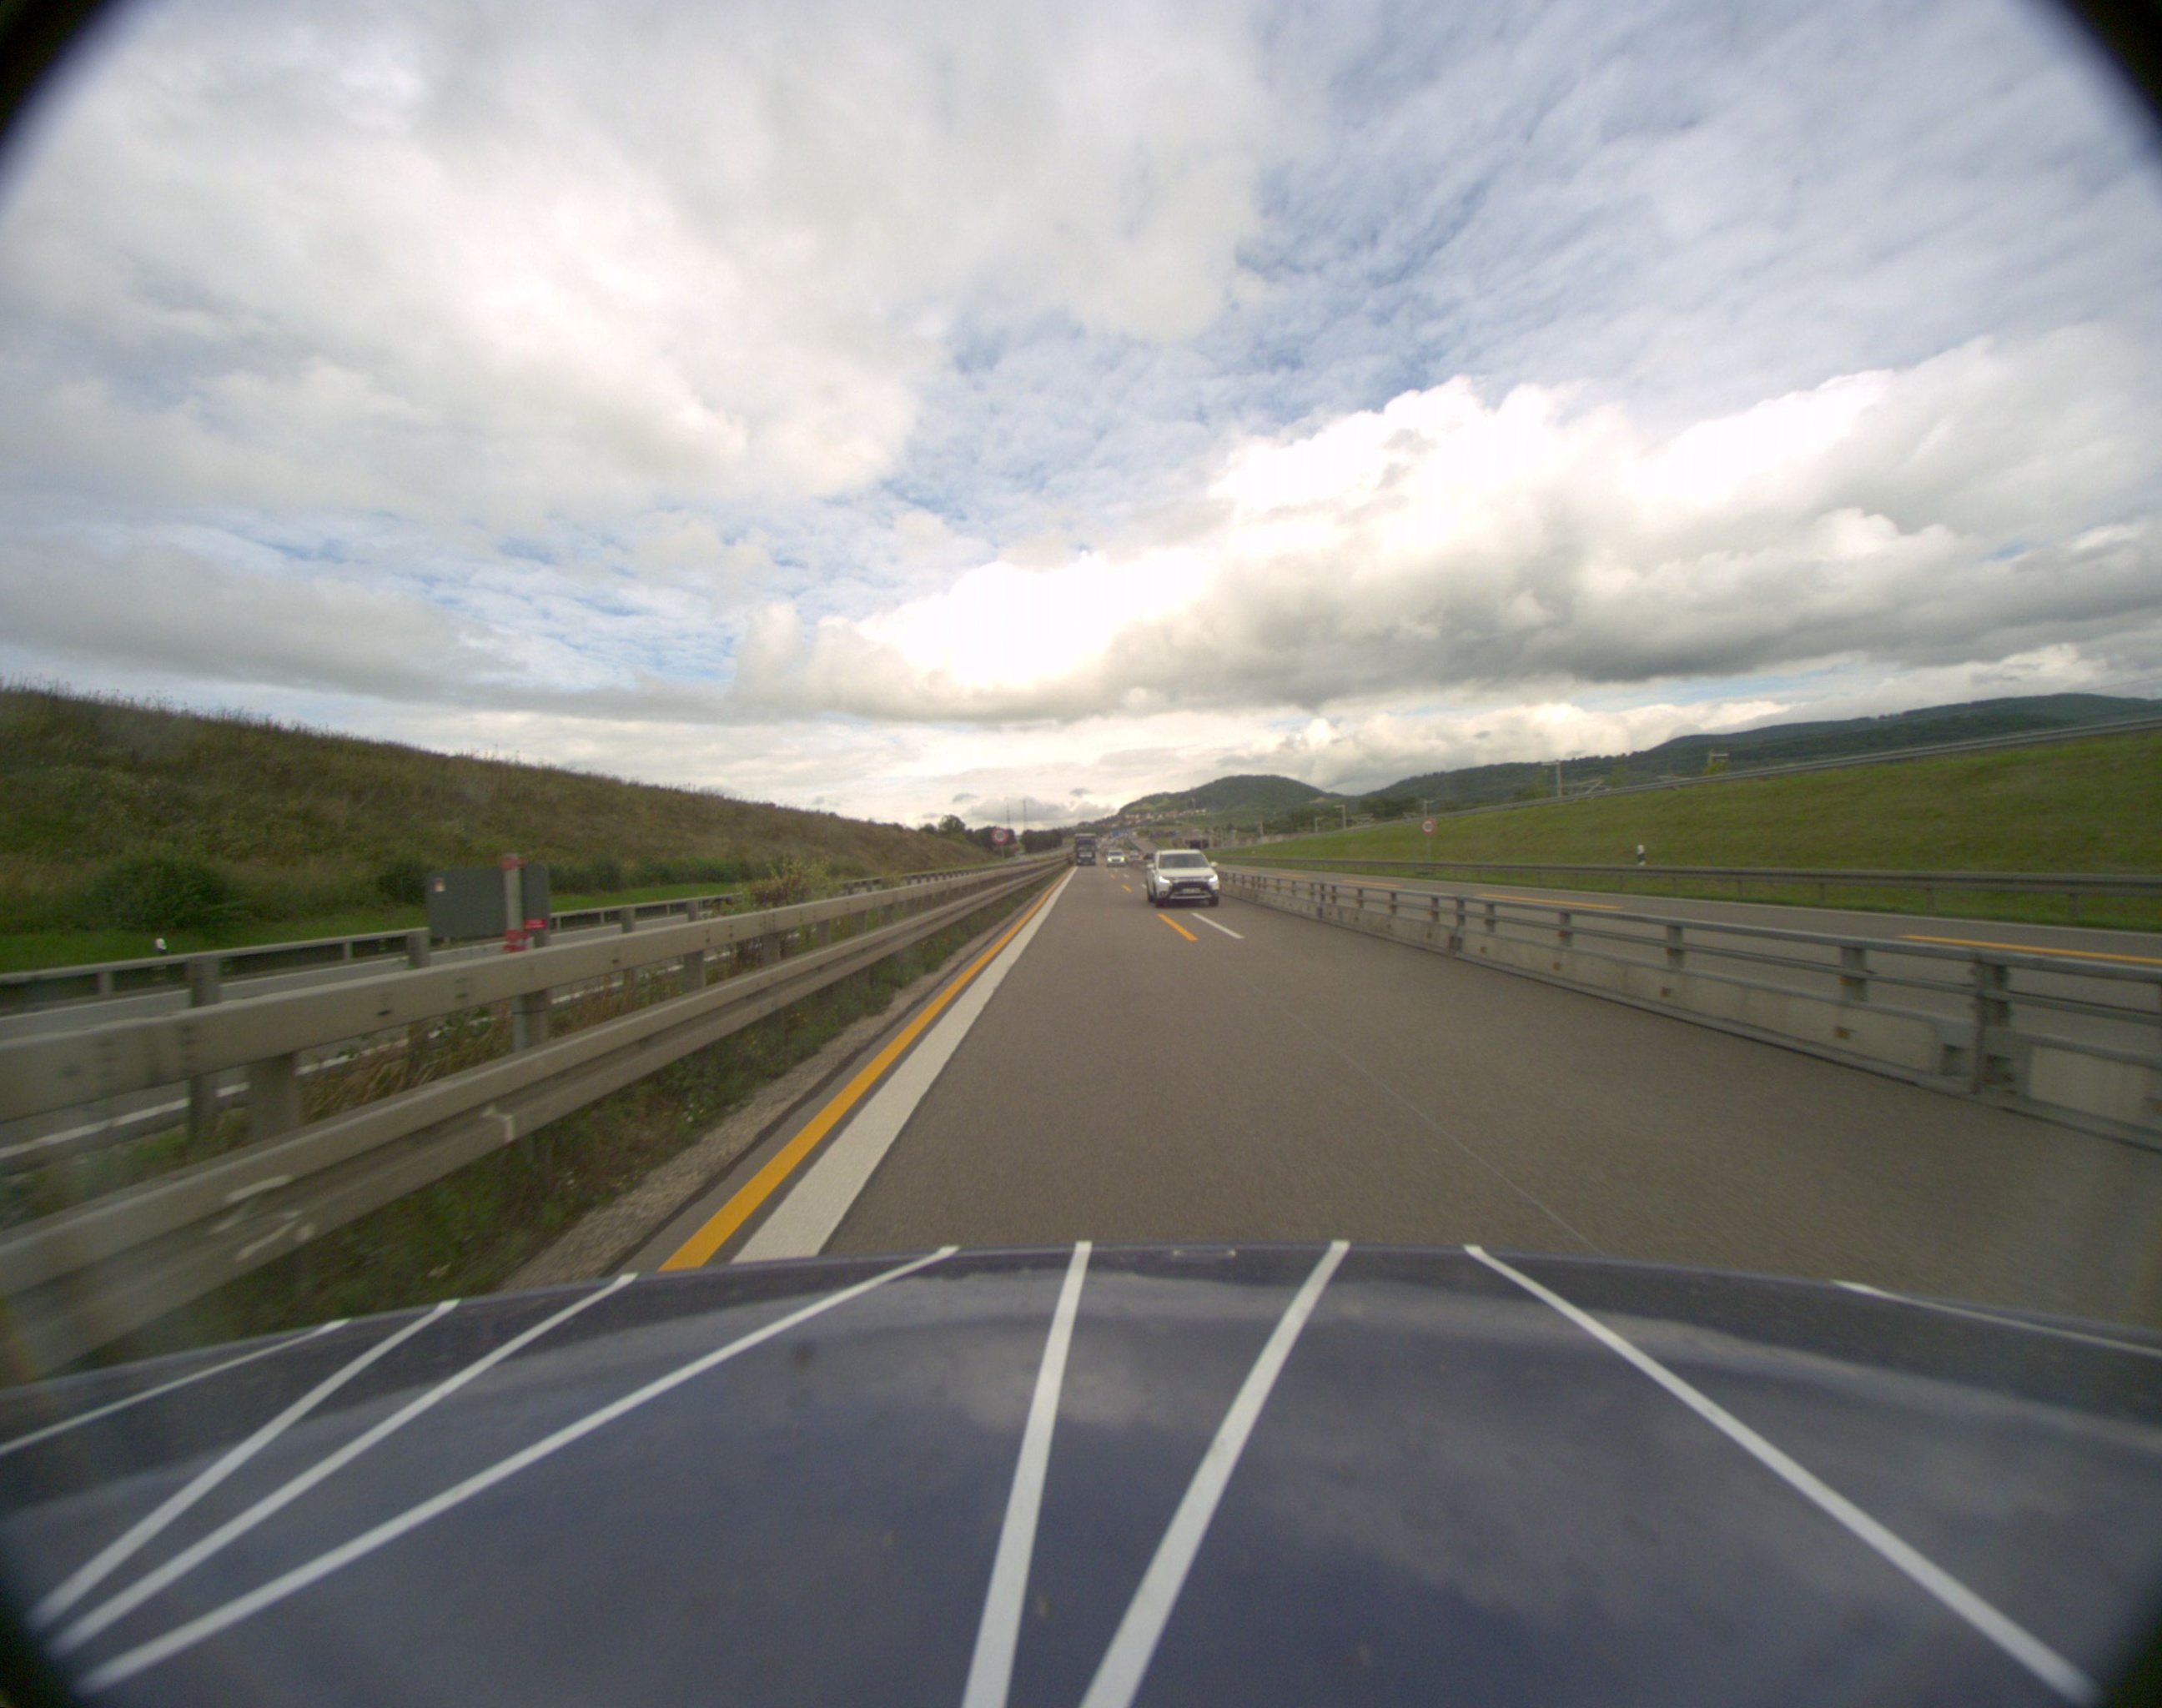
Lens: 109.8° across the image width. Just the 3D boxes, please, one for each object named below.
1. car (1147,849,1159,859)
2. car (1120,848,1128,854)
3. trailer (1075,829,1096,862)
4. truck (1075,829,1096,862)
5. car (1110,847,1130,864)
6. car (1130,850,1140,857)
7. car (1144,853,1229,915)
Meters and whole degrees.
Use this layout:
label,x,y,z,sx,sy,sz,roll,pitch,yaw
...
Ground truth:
label,x,y,z,sx,sy,sz,roll,pitch,yaw
car,12.274,-0.013,129.735,1.792,1.507,4.135,-1,1,1
car,12.960,-0.865,230.658,2.094,1.571,4.281,-2,1,1
trailer,0.690,-1.108,102.618,2.521,4.081,11.113,-2,0,1
truck,0.594,-1.055,97.728,2.521,4.081,5.685,-2,1,1
car,4.370,0.180,85.646,1.991,1.787,4.585,-2,0,1
car,11.579,-0.068,163.756,1.894,1.517,4.182,-2,0,1
car,3.048,0.808,22.917,1.998,1.618,4.607,-1,0,2
